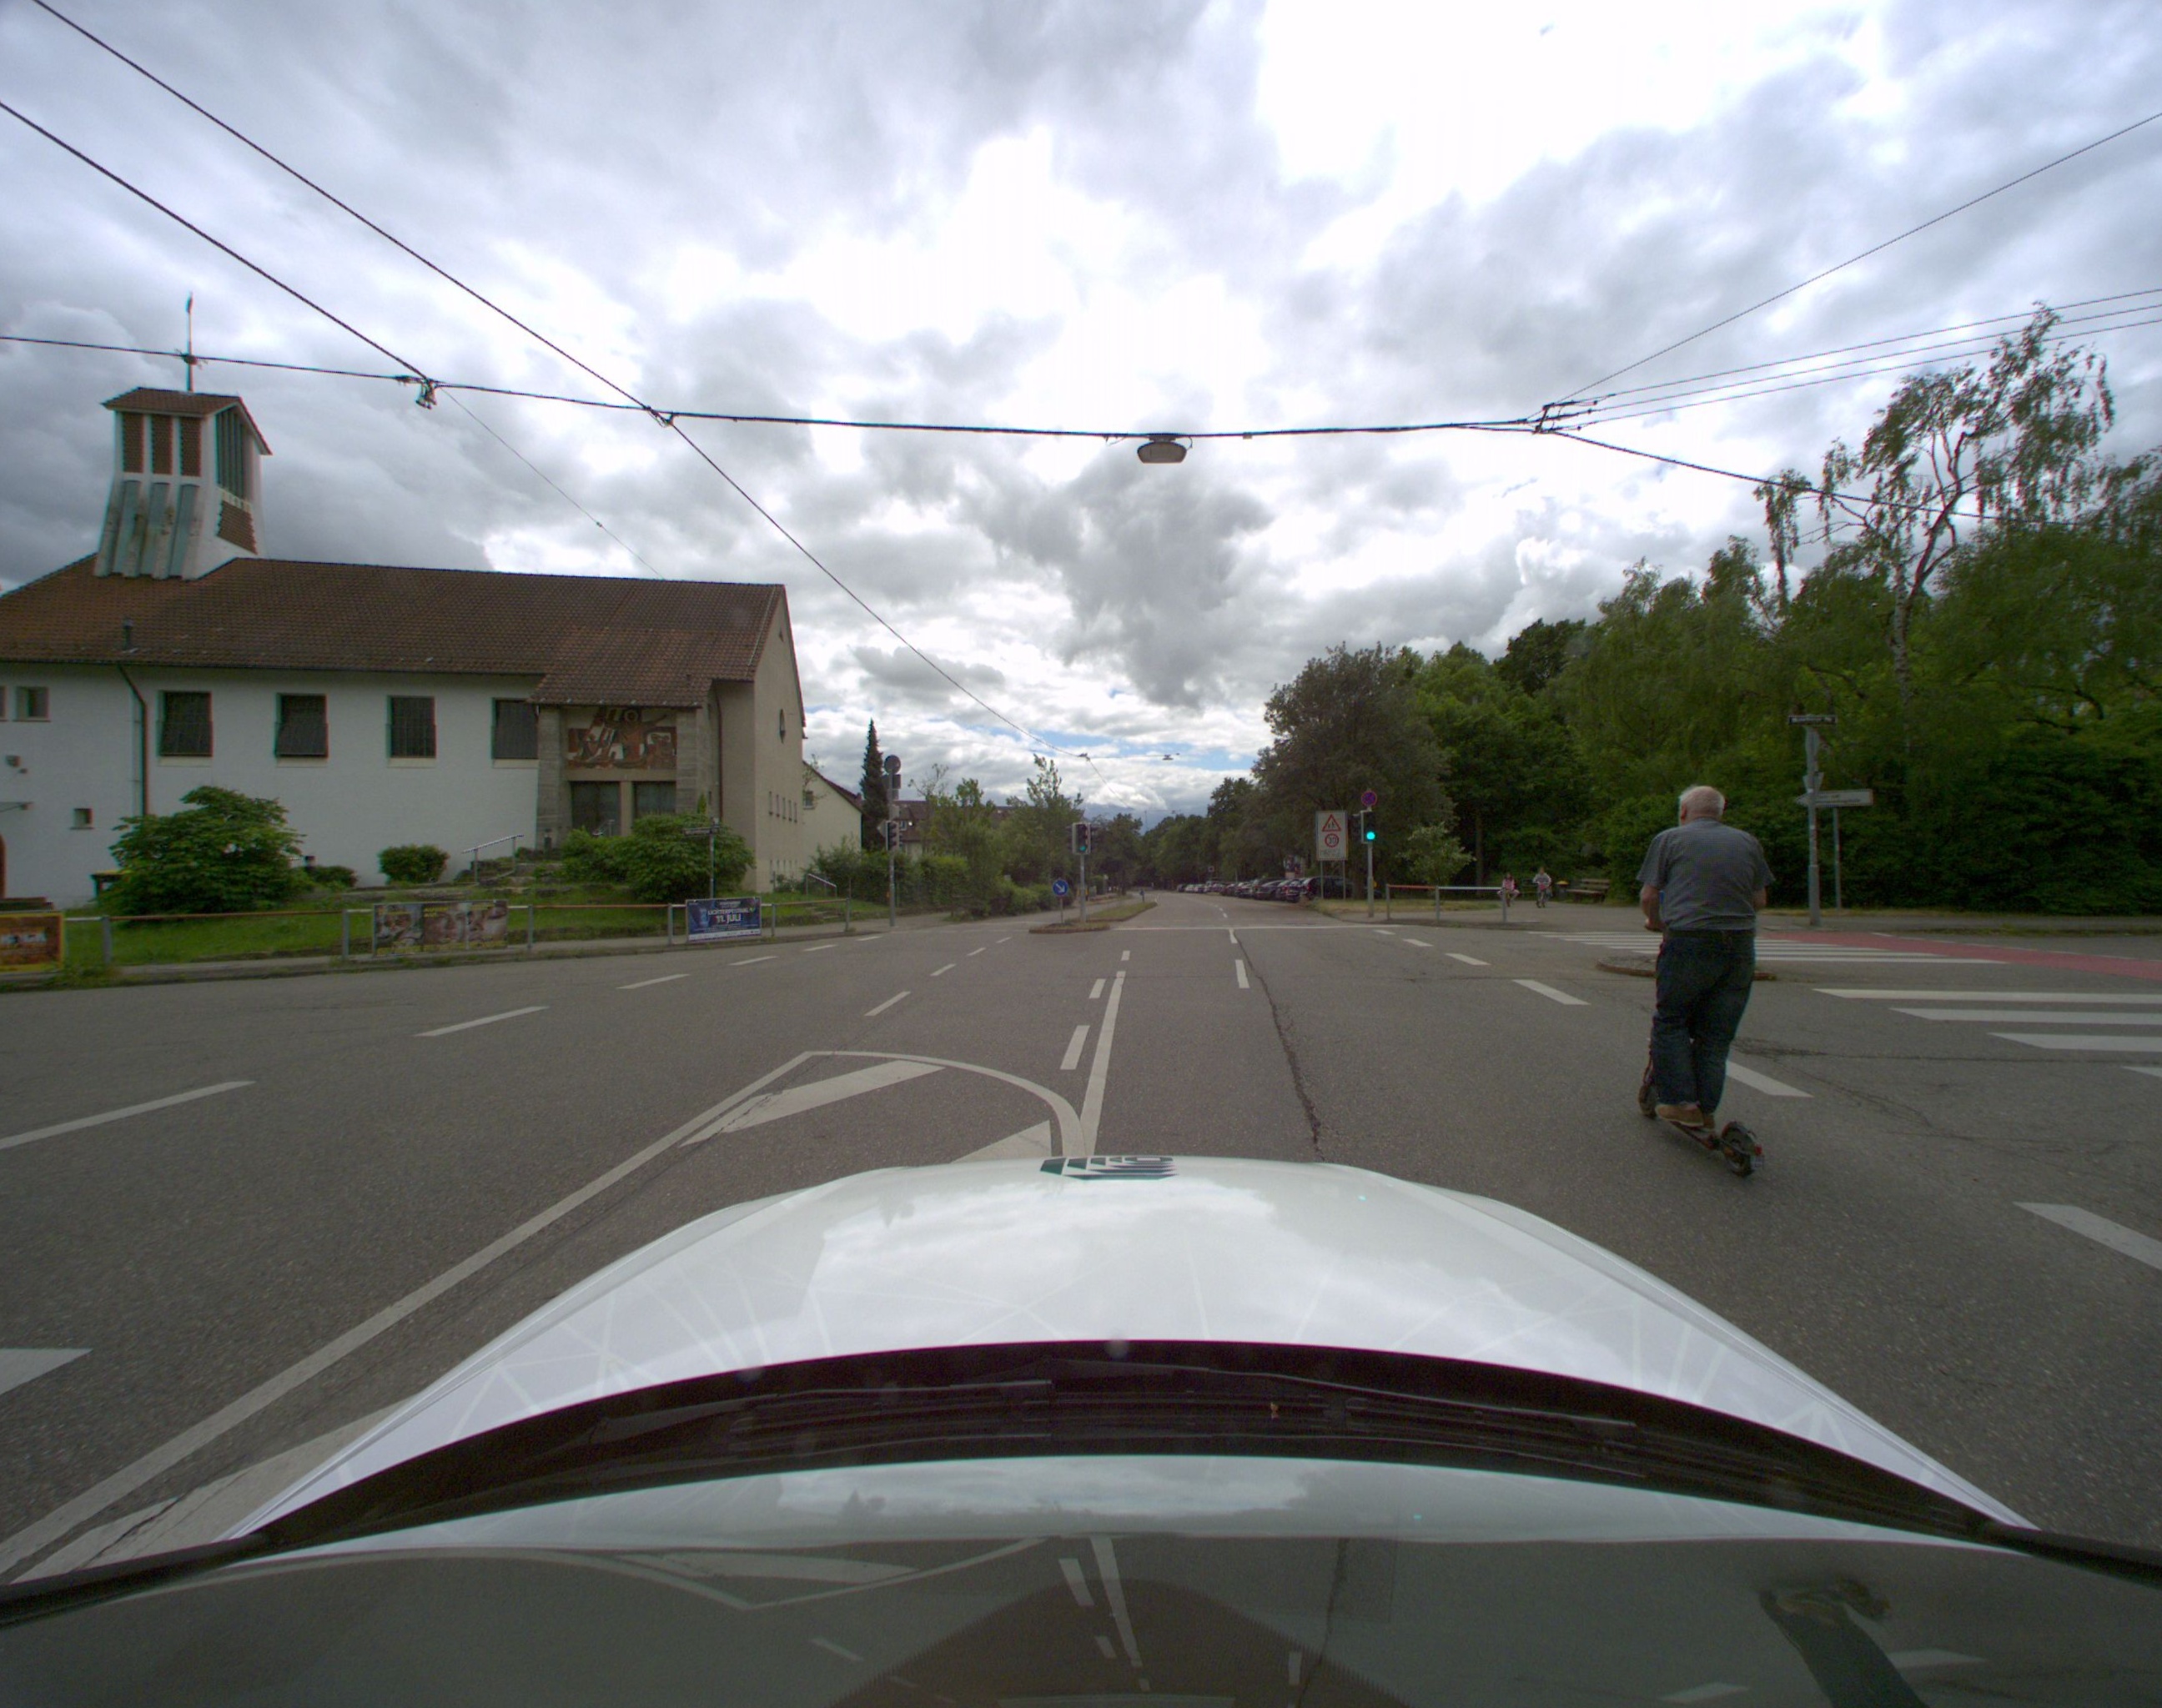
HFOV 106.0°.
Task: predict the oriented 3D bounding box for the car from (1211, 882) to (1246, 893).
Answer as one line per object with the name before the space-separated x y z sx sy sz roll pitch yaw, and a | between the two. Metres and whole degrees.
car | 18.576 4.239 102.712 3.964 1.406 1.750 0 -3 -10

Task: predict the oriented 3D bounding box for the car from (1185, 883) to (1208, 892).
car | 21.113 6.113 148.840 3.891 1.429 1.734 0 -3 -15

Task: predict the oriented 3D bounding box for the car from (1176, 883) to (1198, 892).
car | 21.095 6.585 161.676 3.891 1.668 1.734 0 -3 -15

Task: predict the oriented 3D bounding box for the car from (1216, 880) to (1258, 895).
car | 16.758 3.567 87.518 4.081 1.516 1.723 0 -3 -17

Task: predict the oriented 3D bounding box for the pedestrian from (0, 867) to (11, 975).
pedestrian | -16.783 1.013 12.119 0.835 1.653 0.681 2 -3 -38

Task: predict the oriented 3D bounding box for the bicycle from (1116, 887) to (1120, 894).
bicycle | 7.223 7.110 158.350 0.841 1.266 2.654 -1 -2 4

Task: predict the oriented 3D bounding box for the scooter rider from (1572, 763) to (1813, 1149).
scooter rider | 3.151 0.459 4.331 0.676 1.730 1.202 -1 -1 20

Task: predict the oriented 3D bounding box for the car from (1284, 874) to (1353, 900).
car | 13.692 1.908 47.014 3.520 1.476 1.588 0 -2 -7

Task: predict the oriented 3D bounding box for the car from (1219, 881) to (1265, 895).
car | 16.732 3.558 84.597 4.311 1.341 1.728 0 -3 -9

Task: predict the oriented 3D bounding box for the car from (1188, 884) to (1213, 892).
car | 20.552 5.899 140.488 3.896 1.310 1.732 0 -3 -19

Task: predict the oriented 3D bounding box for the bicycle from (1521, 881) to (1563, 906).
bicycle | 15.086 1.272 26.669 0.635 0.758 1.685 -2 -2 9

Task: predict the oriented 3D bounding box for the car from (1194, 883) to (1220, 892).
car | 20.943 5.639 135.579 3.893 1.449 1.733 0 -3 -17

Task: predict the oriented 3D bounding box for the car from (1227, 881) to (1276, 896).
car | 16.577 3.324 79.255 4.343 1.446 1.628 0 -2 -9

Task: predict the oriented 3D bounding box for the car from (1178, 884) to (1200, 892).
car | 21.143 6.606 158.868 3.891 1.429 1.734 0 -3 -15

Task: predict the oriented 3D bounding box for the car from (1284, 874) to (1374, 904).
car | 12.692 1.798 41.797 4.129 1.476 1.573 0 -3 -6

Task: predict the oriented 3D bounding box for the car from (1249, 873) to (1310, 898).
car | 14.424 2.321 59.192 3.978 1.725 1.678 0 -3 -4

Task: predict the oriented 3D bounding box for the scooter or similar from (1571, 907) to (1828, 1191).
scooter or similar | 3.175 0.903 4.351 0.676 1.139 1.467 -1 0 20

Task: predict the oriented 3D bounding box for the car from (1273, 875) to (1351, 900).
car | 14.007 2.025 49.500 4.210 1.464 1.632 -1 -2 -4

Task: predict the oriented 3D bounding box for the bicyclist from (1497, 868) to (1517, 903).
bicyclist | 14.920 1.119 28.525 0.513 1.187 0.973 -3 -4 25

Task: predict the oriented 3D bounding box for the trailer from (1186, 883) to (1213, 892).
trailer | 20.047 5.680 137.836 4.160 1.573 1.703 0 -3 -14

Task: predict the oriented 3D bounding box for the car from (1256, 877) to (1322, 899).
car | 14.377 2.359 56.412 4.154 1.407 1.694 0 -3 -6

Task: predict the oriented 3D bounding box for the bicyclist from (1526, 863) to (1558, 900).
bicyclist | 15.091 0.905 26.654 0.636 1.162 0.805 -2 -2 9

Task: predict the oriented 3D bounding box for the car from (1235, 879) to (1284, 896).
car | 15.793 2.976 72.073 3.912 1.487 1.612 0 -2 -10

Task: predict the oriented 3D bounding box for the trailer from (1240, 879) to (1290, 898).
trailer | 15.055 2.803 66.792 3.684 1.535 1.642 0 -2 -6

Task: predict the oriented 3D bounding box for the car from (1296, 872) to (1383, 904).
car | 12.455 1.642 39.377 3.700 1.476 1.577 -1 -2 3

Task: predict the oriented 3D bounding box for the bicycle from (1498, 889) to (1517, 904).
bicycle | 14.927 1.483 28.506 0.513 0.497 0.994 -3 -4 25

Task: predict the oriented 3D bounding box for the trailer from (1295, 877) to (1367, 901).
trailer | 13.715 1.924 44.742 3.395 1.267 1.613 -1 -3 -5

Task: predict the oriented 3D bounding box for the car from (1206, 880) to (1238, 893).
car | 19.175 4.410 110.757 4.102 1.755 1.774 1 -3 -22

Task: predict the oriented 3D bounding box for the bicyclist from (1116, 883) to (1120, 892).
bicyclist | 7.222 6.594 158.422 0.841 1.698 0.714 -1 -2 4

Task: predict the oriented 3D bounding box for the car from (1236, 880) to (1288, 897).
car | 15.276 2.909 68.833 4.029 1.328 1.557 -1 -3 -4
